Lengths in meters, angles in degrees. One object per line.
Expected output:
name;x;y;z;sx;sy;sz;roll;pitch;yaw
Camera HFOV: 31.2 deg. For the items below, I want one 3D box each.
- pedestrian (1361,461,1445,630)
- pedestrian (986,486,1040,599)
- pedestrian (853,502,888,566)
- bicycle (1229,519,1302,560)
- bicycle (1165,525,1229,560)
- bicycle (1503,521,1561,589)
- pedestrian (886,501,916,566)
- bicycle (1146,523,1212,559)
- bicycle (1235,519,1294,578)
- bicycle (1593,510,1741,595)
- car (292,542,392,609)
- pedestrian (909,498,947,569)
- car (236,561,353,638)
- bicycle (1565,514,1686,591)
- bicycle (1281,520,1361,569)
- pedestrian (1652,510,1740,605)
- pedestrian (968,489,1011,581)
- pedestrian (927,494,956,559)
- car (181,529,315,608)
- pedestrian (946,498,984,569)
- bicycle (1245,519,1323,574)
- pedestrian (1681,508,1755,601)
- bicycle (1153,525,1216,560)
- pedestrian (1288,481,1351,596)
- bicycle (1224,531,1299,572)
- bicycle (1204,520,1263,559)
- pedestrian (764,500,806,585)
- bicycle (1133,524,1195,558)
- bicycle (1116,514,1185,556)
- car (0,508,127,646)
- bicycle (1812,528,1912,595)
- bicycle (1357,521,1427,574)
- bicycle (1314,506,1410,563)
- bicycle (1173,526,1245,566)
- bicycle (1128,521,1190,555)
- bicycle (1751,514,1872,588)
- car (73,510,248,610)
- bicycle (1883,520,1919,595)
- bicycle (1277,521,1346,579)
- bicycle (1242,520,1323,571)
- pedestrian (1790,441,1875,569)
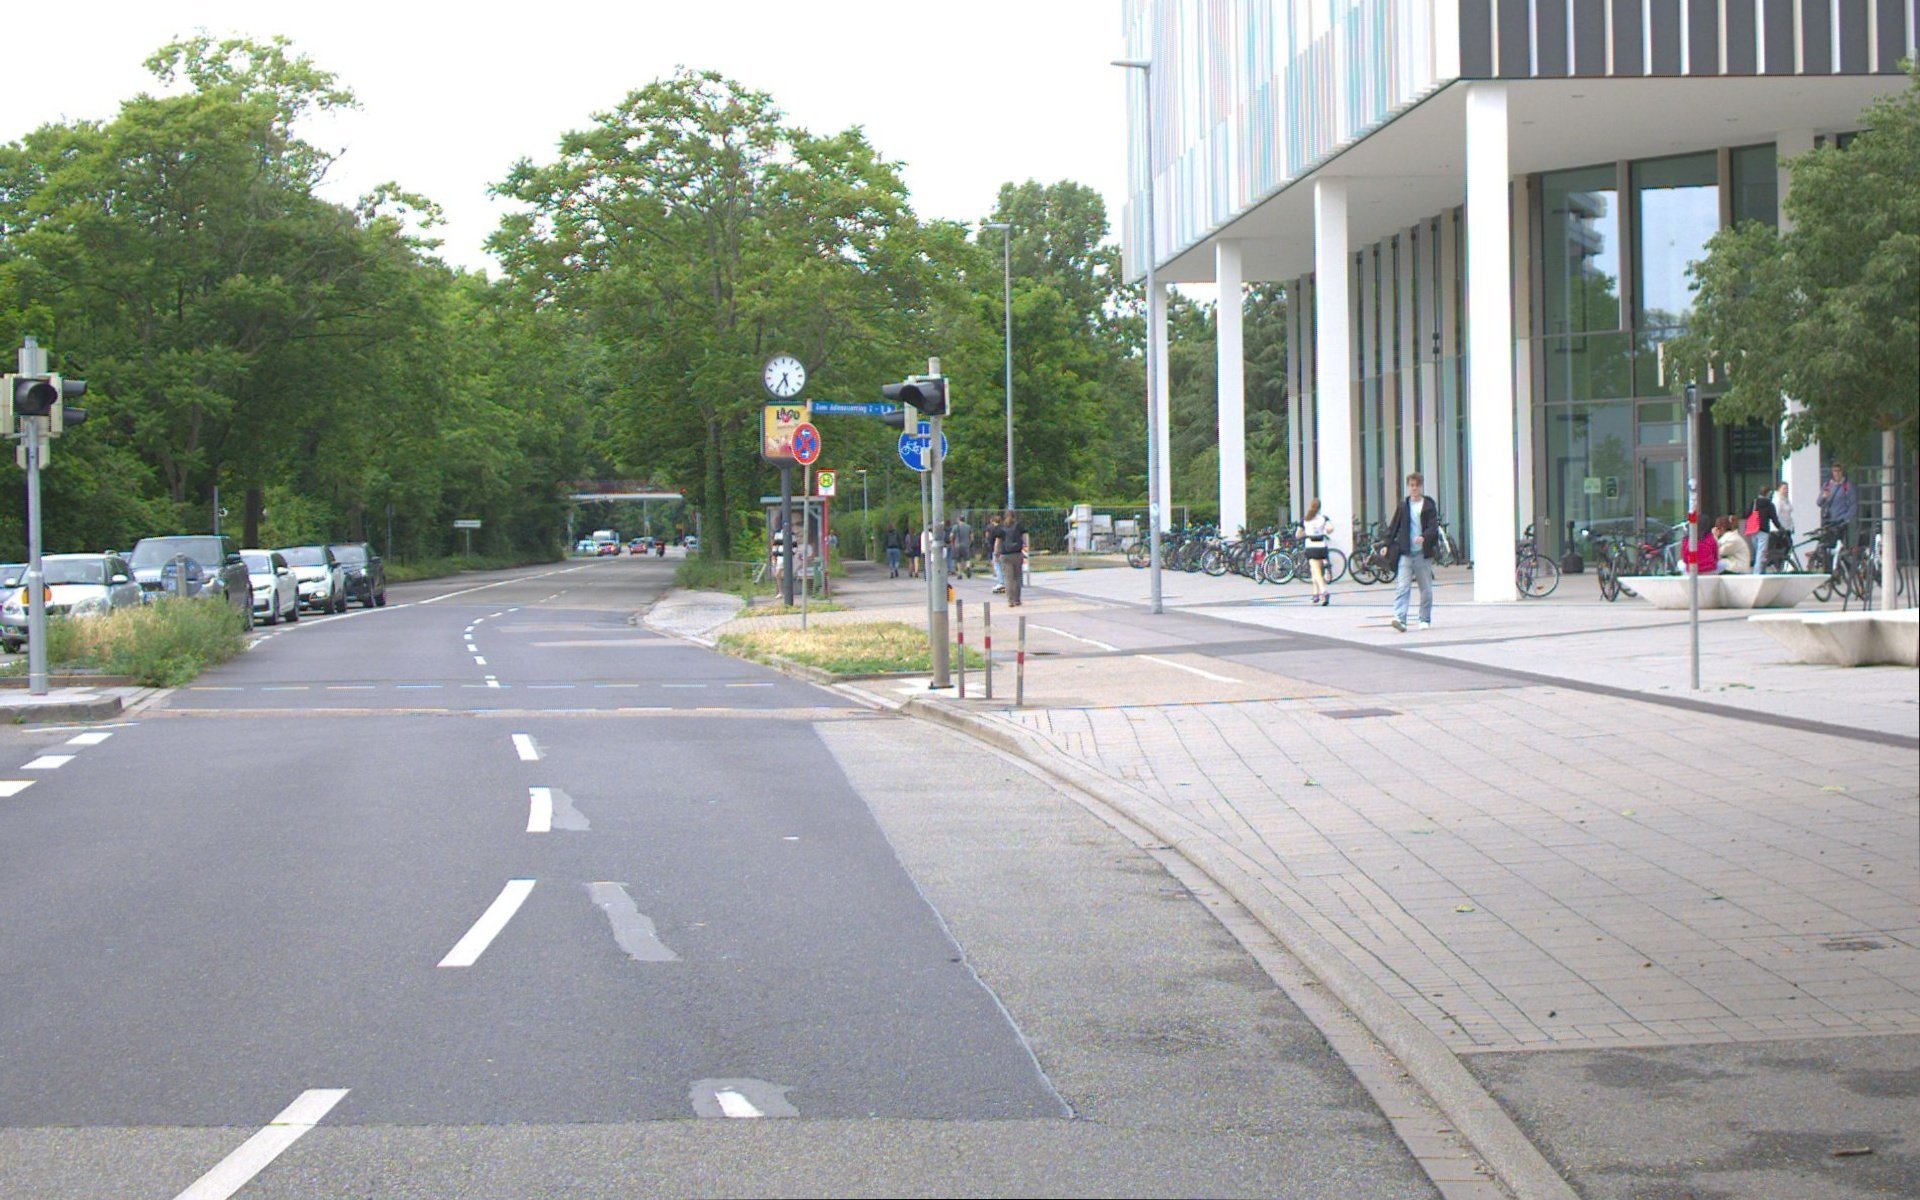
pedestrian;5.335;-0.659;41.447;0.842;2.007;0.894;-1;1;-2
pedestrian;0.961;-1.044;62.356;0.842;2.006;0.894;-3;1;-2
pedestrian;-2.824;-2.081;108.304;0.925;2.007;1.040;-2;1;-8
bicycle;7.227;-1.432;81.400;1.691;0.943;0.516;-1;1;3
bicycle;6.273;-1.531;90.950;1.606;0.871;0.556;-2;1;-3
bicycle;9.074;-0.718;54.581;0.638;1.058;1.840;1;1;1
pedestrian;-1.862;-2.095;108.495;0.823;2.007;0.720;-2;1;-8
bicycle;5.422;-1.460;85.154;1.532;0.831;0.556;-2;1;-3
bicycle;6.141;-1.051;69.504;0.635;1.136;2.201;-4;1;-8
bicycle;10.525;-0.710;51.106;0.774;1.184;2.713;0;2;45
car;-15.450;-0.637;86.141;1.902;1.588;4.517;-2;1;-4
pedestrian;-0.913;-1.897;98.680;0.925;2.007;1.040;-2;1;-8
car;-14.886;-0.039;77.096;1.993;1.541;4.180;-3;1;-4
bicycle;10.170;-0.738;52.490;0.736;1.112;2.178;0;2;44
bicycle;7.594;-1.169;72.262;1.607;0.932;0.569;-3;2;7
pedestrian;9.451;-0.548;44.129;0.844;1.202;0.893;-1;1;31
pedestrian;0.657;-1.439;76.221;0.842;2.007;0.894;-1;1;-4
pedestrian;-0.589;-2.310;108.463;0.824;2.007;0.720;-2;1;-4
car;-14.037;-0.647;68.016;1.903;1.460;4.912;1;1;-4
pedestrian;0.138;-1.919;98.739;0.925;2.007;1.040;-2;1;-8
bicycle;7.092;-1.181;75.306;1.644;1.087;0.572;-4;1;5
pedestrian;9.860;-0.598;44.750;0.892;1.189;0.845;-1;1;11
bicycle;6.018;-1.546;92.127;1.606;0.871;0.556;-2;1;-3
pedestrian;5.821;-1.005;55.730;0.842;1.829;0.894;-1;1;-3
bicycle;6.766;-1.099;77.194;1.606;0.872;0.556;-1;1;-3
bicycle;6.368;-1.414;80.128;1.283;0.871;0.556;-2;1;-3
pedestrian;-4.327;-1.423;84.945;0.912;2.006;0.854;-3;3;-4
bicycle;5.557;-1.606;93.708;1.606;0.871;0.556;-2;1;-3
bicycle;5.358;-1.838;96.654;1.794;1.078;0.626;-3;1;-5
car;-14.232;-0.371;52.952;1.993;2.007;4.001;-2;1;-4
bicycle;12.752;-0.548;48.573;0.671;0.895;1.842;0;2;38
bicycle;8.169;-0.997;65.002;1.484;0.926;0.440;-4;4;-42
bicycle;8.821;-1.435;75.480;1.985;1.140;0.647;-2;2;38
bicycle;5.860;-1.280;80.848;1.606;0.871;0.556;-2;1;-3
bicycle;5.479;-1.706;94.662;1.606;0.871;0.556;-2;1;-3
bicycle;12.202;-0.706;49.255;0.774;0.998;1.955;0;2;45
car;-14.045;-0.735;60.660;1.993;1.681;4.948;0;1;-1
bicycle;13.625;-0.604;46.784;2.185;1.002;0.782;-2;2;-33
bicycle;6.815;-0.970;66.733;0.607;1.076;1.963;-4;2;-15
bicycle;6.906;-1.172;73.710;1.606;0.979;0.556;-4;1;-3
pedestrian;14.274;-1.549;56.284;1.181;2.055;1.135;1;1;8
